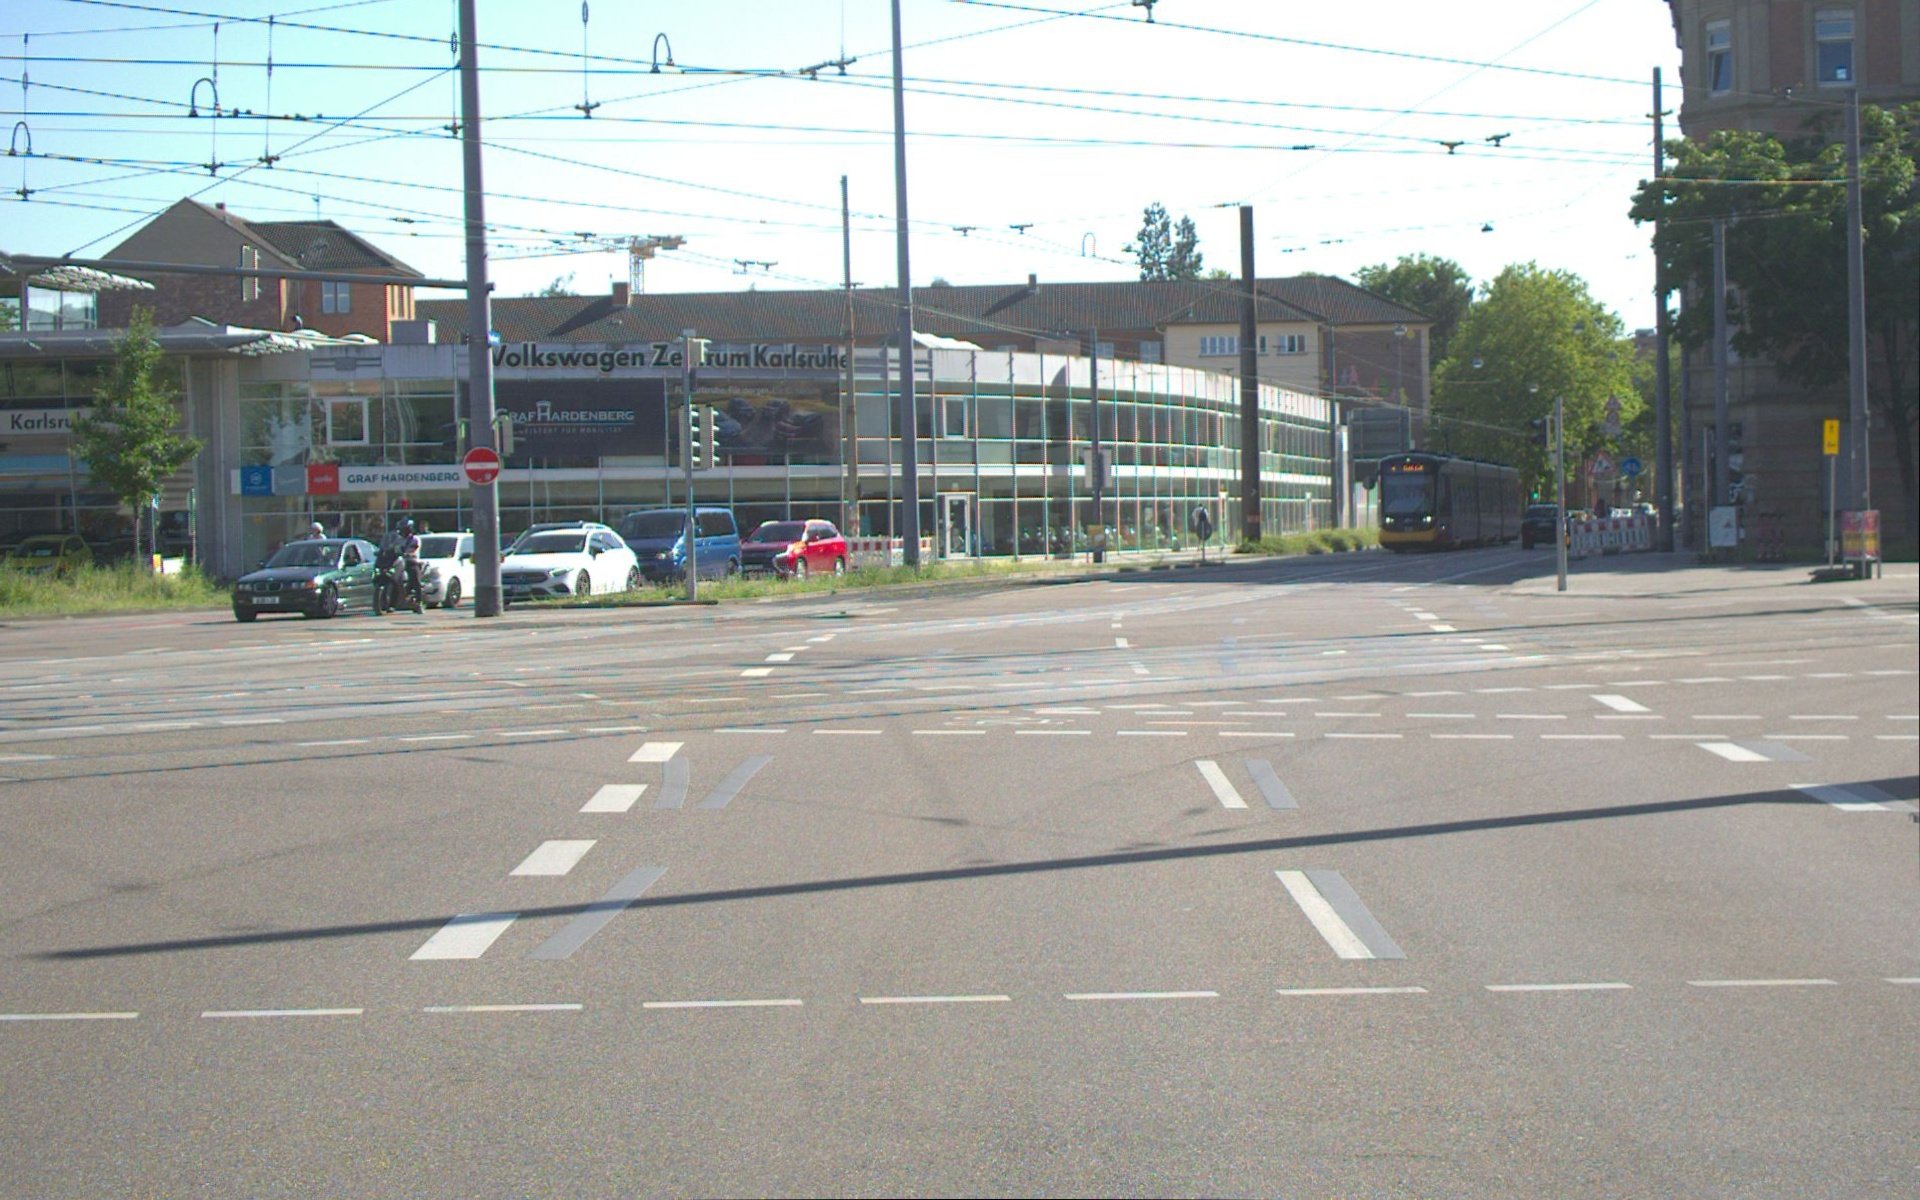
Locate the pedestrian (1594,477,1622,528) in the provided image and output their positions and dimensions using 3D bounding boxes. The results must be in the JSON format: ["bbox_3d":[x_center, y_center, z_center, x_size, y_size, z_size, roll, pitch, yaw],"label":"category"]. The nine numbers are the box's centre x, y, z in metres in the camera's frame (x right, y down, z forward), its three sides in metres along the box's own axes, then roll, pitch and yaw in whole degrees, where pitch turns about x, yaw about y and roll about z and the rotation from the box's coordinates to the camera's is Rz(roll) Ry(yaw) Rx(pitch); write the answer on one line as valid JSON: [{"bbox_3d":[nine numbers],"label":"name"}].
[{"bbox_3d":[21.304,-3.207,112.973,0.803,1.626,0.717,-1,2,18],"label":"pedestrian"}]

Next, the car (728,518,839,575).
[{"bbox_3d":[-4.398,-1.348,86.078,1.627,1.359,3.683,-1,1,16],"label":"car"}]

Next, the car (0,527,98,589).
[{"bbox_3d":[-26.534,-1.241,99.869,1.966,1.700,4.084,-1,1,-1],"label":"car"}]

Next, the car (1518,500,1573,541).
[{"bbox_3d":[22.367,-3.048,131.237,1.700,1.497,4.262,-1,1,14],"label":"car"}]

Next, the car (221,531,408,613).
[{"bbox_3d":[-11.389,-0.516,60.869,1.705,1.349,3.698,-1,1,17],"label":"car"}]

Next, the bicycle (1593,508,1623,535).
[{"bbox_3d":[21.210,-2.567,112.529,0.743,0.867,1.929,-1,1,18],"label":"bicycle"}]

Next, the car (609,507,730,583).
[{"bbox_3d":[-6.646,-1.276,78.951,1.627,1.686,3.683,-1,1,14],"label":"car"}]

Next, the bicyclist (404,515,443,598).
[{"bbox_3d":[-11.150,-0.905,71.484,0.569,1.708,0.648,-1,1,11],"label":"bicyclist"}]

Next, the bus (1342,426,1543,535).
[{"bbox_3d":[18.713,-4.377,131.076,3.840,3.595,24.846,1,1,17],"label":"bus"}]

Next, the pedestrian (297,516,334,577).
[{"bbox_3d":[-12.869,-1.078,68.634,0.423,1.200,0.680,-1,1,18],"label":"pedestrian"}]

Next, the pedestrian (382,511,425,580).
[{"bbox_3d":[-9.771,-0.965,60.379,0.423,1.200,0.749,-1,1,17],"label":"pedestrian"}]

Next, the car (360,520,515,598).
[{"bbox_3d":[-10.120,-0.814,66.821,1.627,1.419,3.683,-1,1,14],"label":"car"}]

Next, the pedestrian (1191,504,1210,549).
[{"bbox_3d":[9.161,-2.815,131.176,0.543,1.683,0.629,-1,1,20],"label":"pedestrian"}]

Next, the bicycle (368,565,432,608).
[{"bbox_3d":[-9.802,-0.238,60.210,0.423,0.715,1.633,-1,1,17],"label":"bicycle"}]

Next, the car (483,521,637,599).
[{"bbox_3d":[-7.521,-0.772,64.939,1.627,1.377,3.735,-1,1,14],"label":"car"}]
